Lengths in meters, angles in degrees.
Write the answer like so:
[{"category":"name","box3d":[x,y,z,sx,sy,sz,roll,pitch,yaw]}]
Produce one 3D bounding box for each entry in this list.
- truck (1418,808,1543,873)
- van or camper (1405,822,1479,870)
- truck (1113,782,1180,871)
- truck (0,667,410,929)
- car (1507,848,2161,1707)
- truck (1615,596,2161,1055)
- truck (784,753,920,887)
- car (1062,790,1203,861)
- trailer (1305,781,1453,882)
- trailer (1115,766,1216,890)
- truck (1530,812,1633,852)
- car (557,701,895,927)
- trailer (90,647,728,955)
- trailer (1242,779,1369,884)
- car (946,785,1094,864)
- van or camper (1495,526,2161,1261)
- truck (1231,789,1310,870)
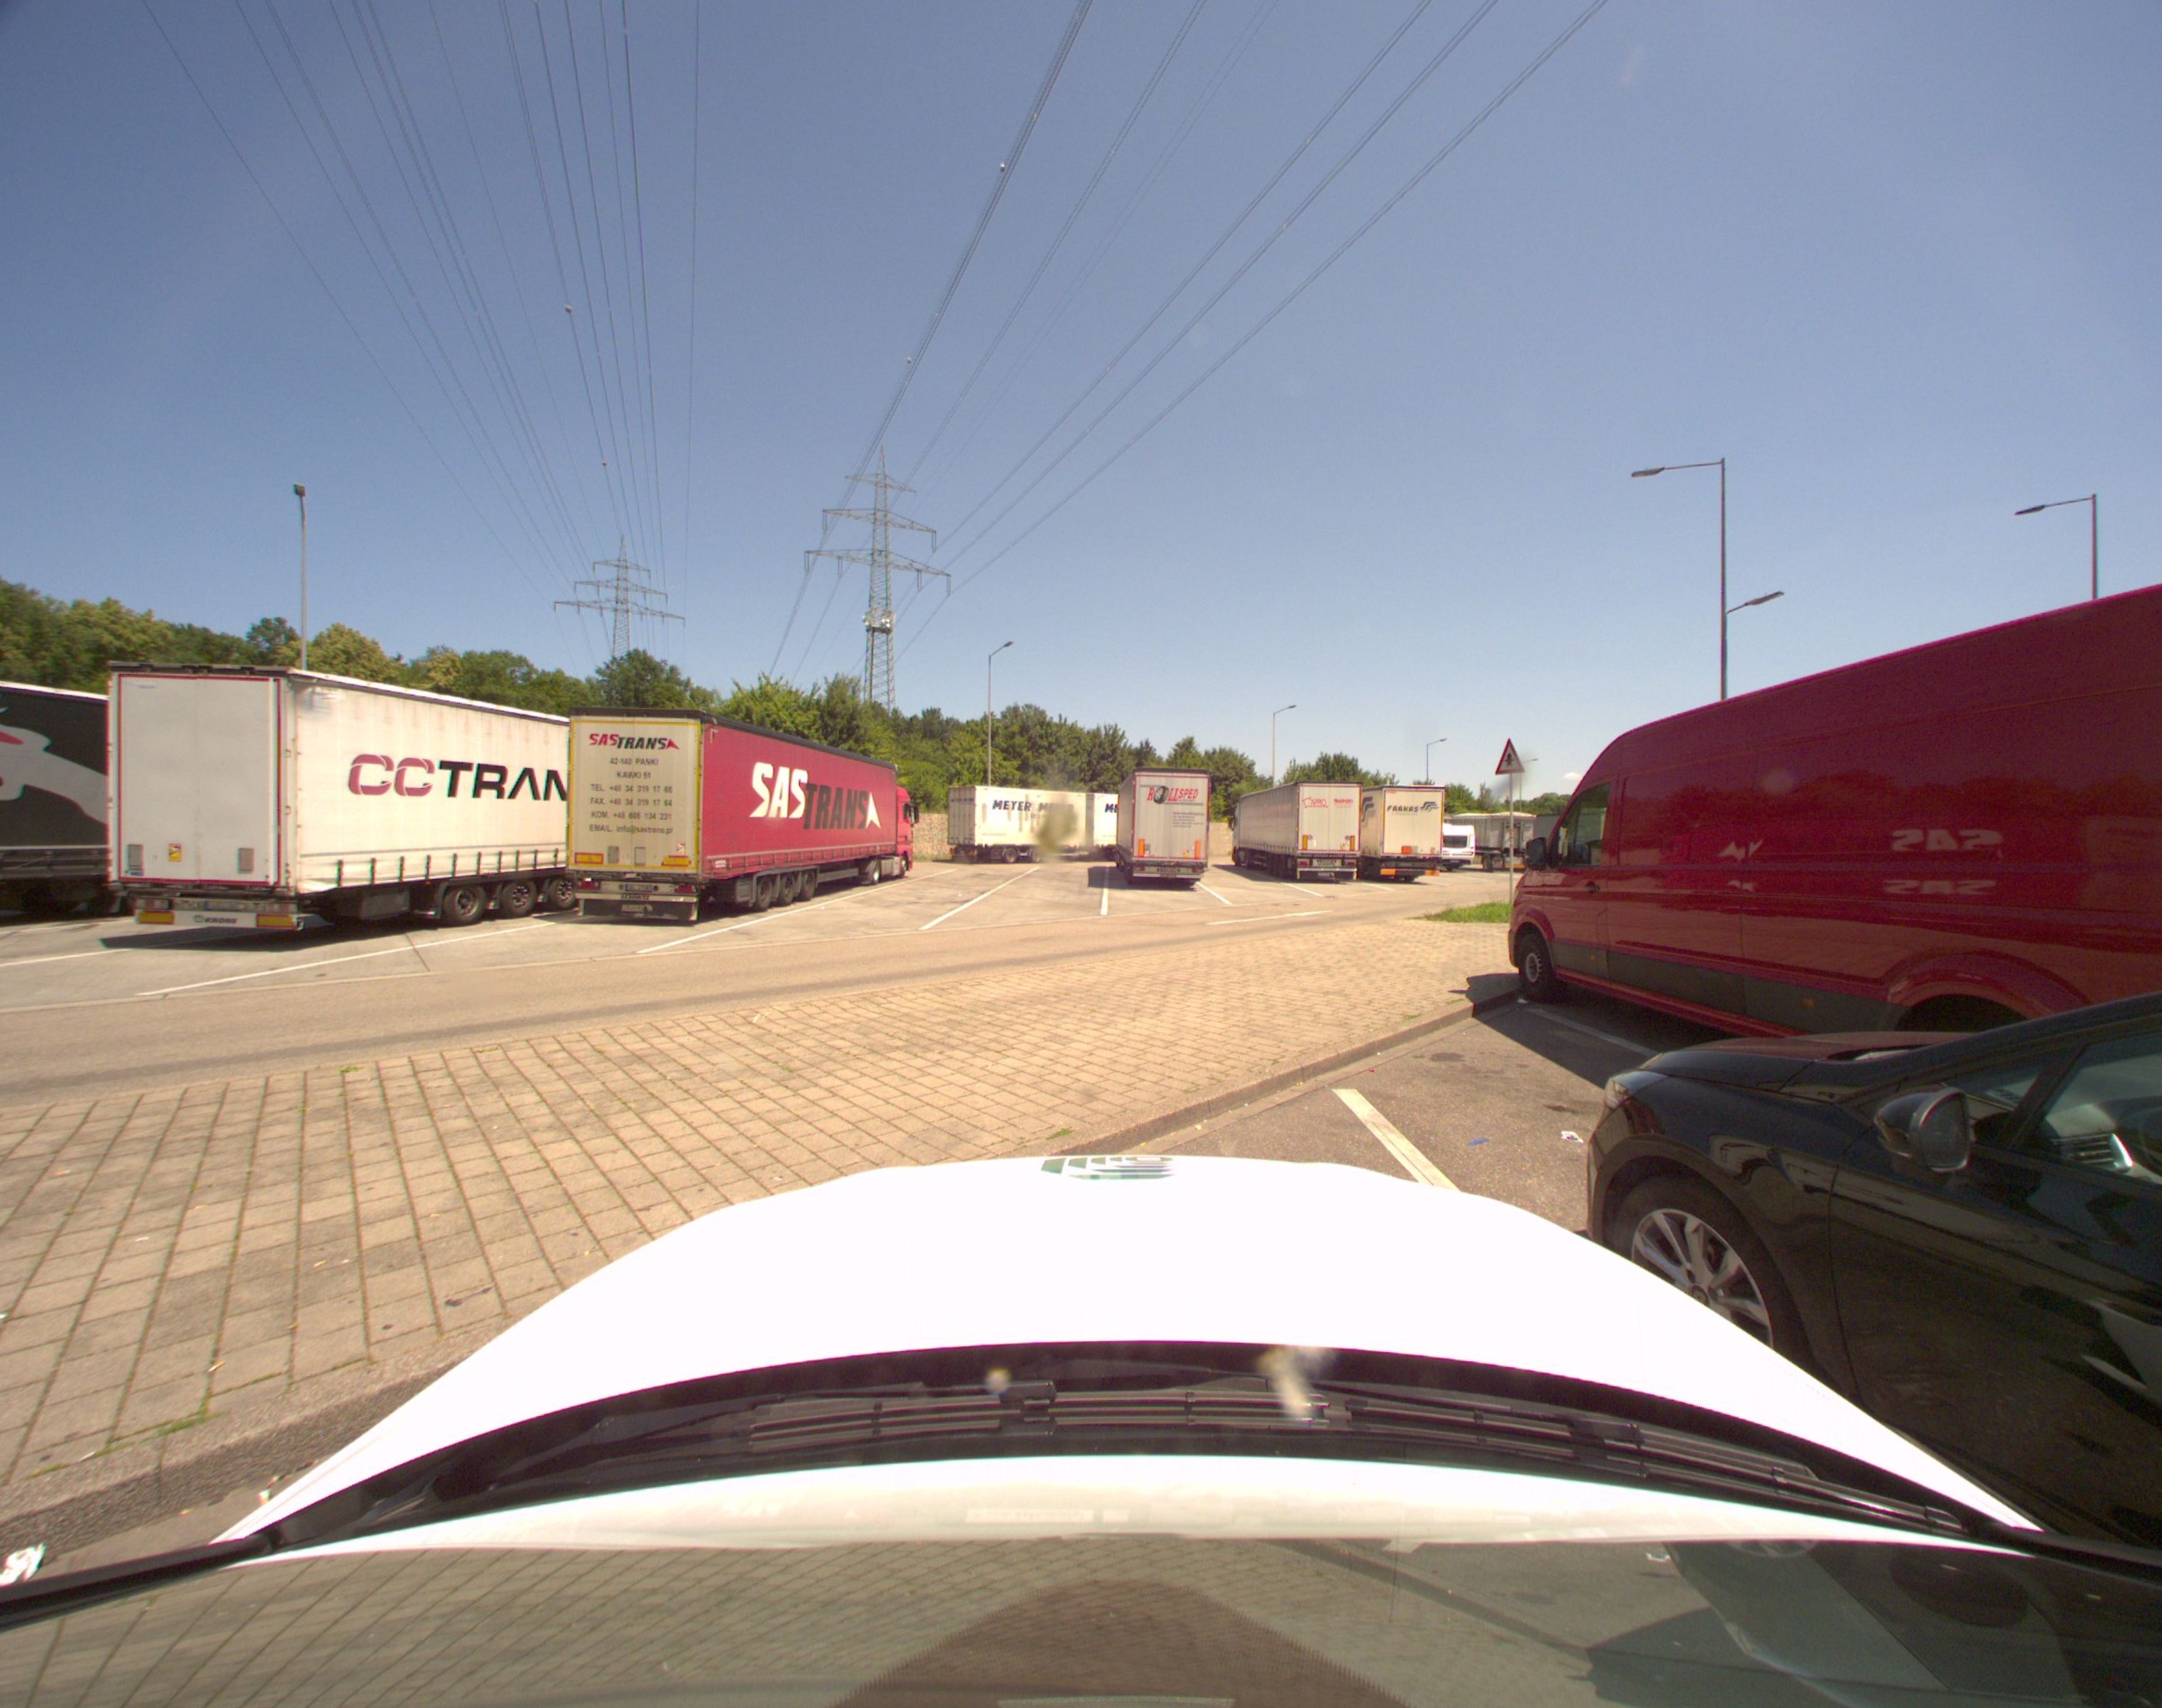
[{"category":"truck","box3d":[24.316,-0.963,50.516,2.478,3.568,11.429,0,2,2]},{"category":"van or camper","box3d":[20.607,-0.471,46.756,2.096,2.561,5.376,-1,1,3]},{"category":"truck","box3d":[3.155,-1.397,40.832,2.857,4.037,7.029,0,2,1]},{"category":"truck","box3d":[-18.600,-1.023,16.283,2.803,4.190,8.793,0,2,2]},{"category":"car","box3d":[2.473,0.752,1.155,1.612,1.483,3.762,-1,1,-4]},{"category":"truck","box3d":[7.957,-0.214,7.080,2.455,2.792,6.978,0,1,4]},{"category":"truck","box3d":[-7.732,-1.155,28.363,2.686,4.112,6.243,1,2,2]},{"category":"car","box3d":[3.501,-1.794,52.304,10.274,4.188,2.656,-1,3,-43]},{"category":"trailer","box3d":[13.658,-1.128,38.892,2.856,4.037,12.445,0,2,2]},{"category":"trailer","box3d":[3.062,-1.107,33.744,2.857,4.037,14.244,0,2,1]},{"category":"truck","box3d":[38.050,-1.651,62.394,2.117,2.820,9.783,-1,1,2]},{"category":"car","box3d":[-8.032,-0.937,21.447,2.686,4.112,12.943,1,2,2]},{"category":"trailer","box3d":[-12.145,-0.977,17.803,2.803,4.266,12.947,0,2,2]},{"category":"trailer","box3d":[9.971,-1.108,37.916,2.856,4.037,12.445,0,2,2]},{"category":"car","box3d":[-3.269,-1.627,45.808,8.516,4.043,2.656,-1,3,-44]},{"category":"van or camper","box3d":[5.156,0.097,5.507,1.986,2.654,6.490,-1,1,6]},{"category":"truck","box3d":[10.196,-1.372,44.549,2.856,4.037,6.960,0,2,2]}]
